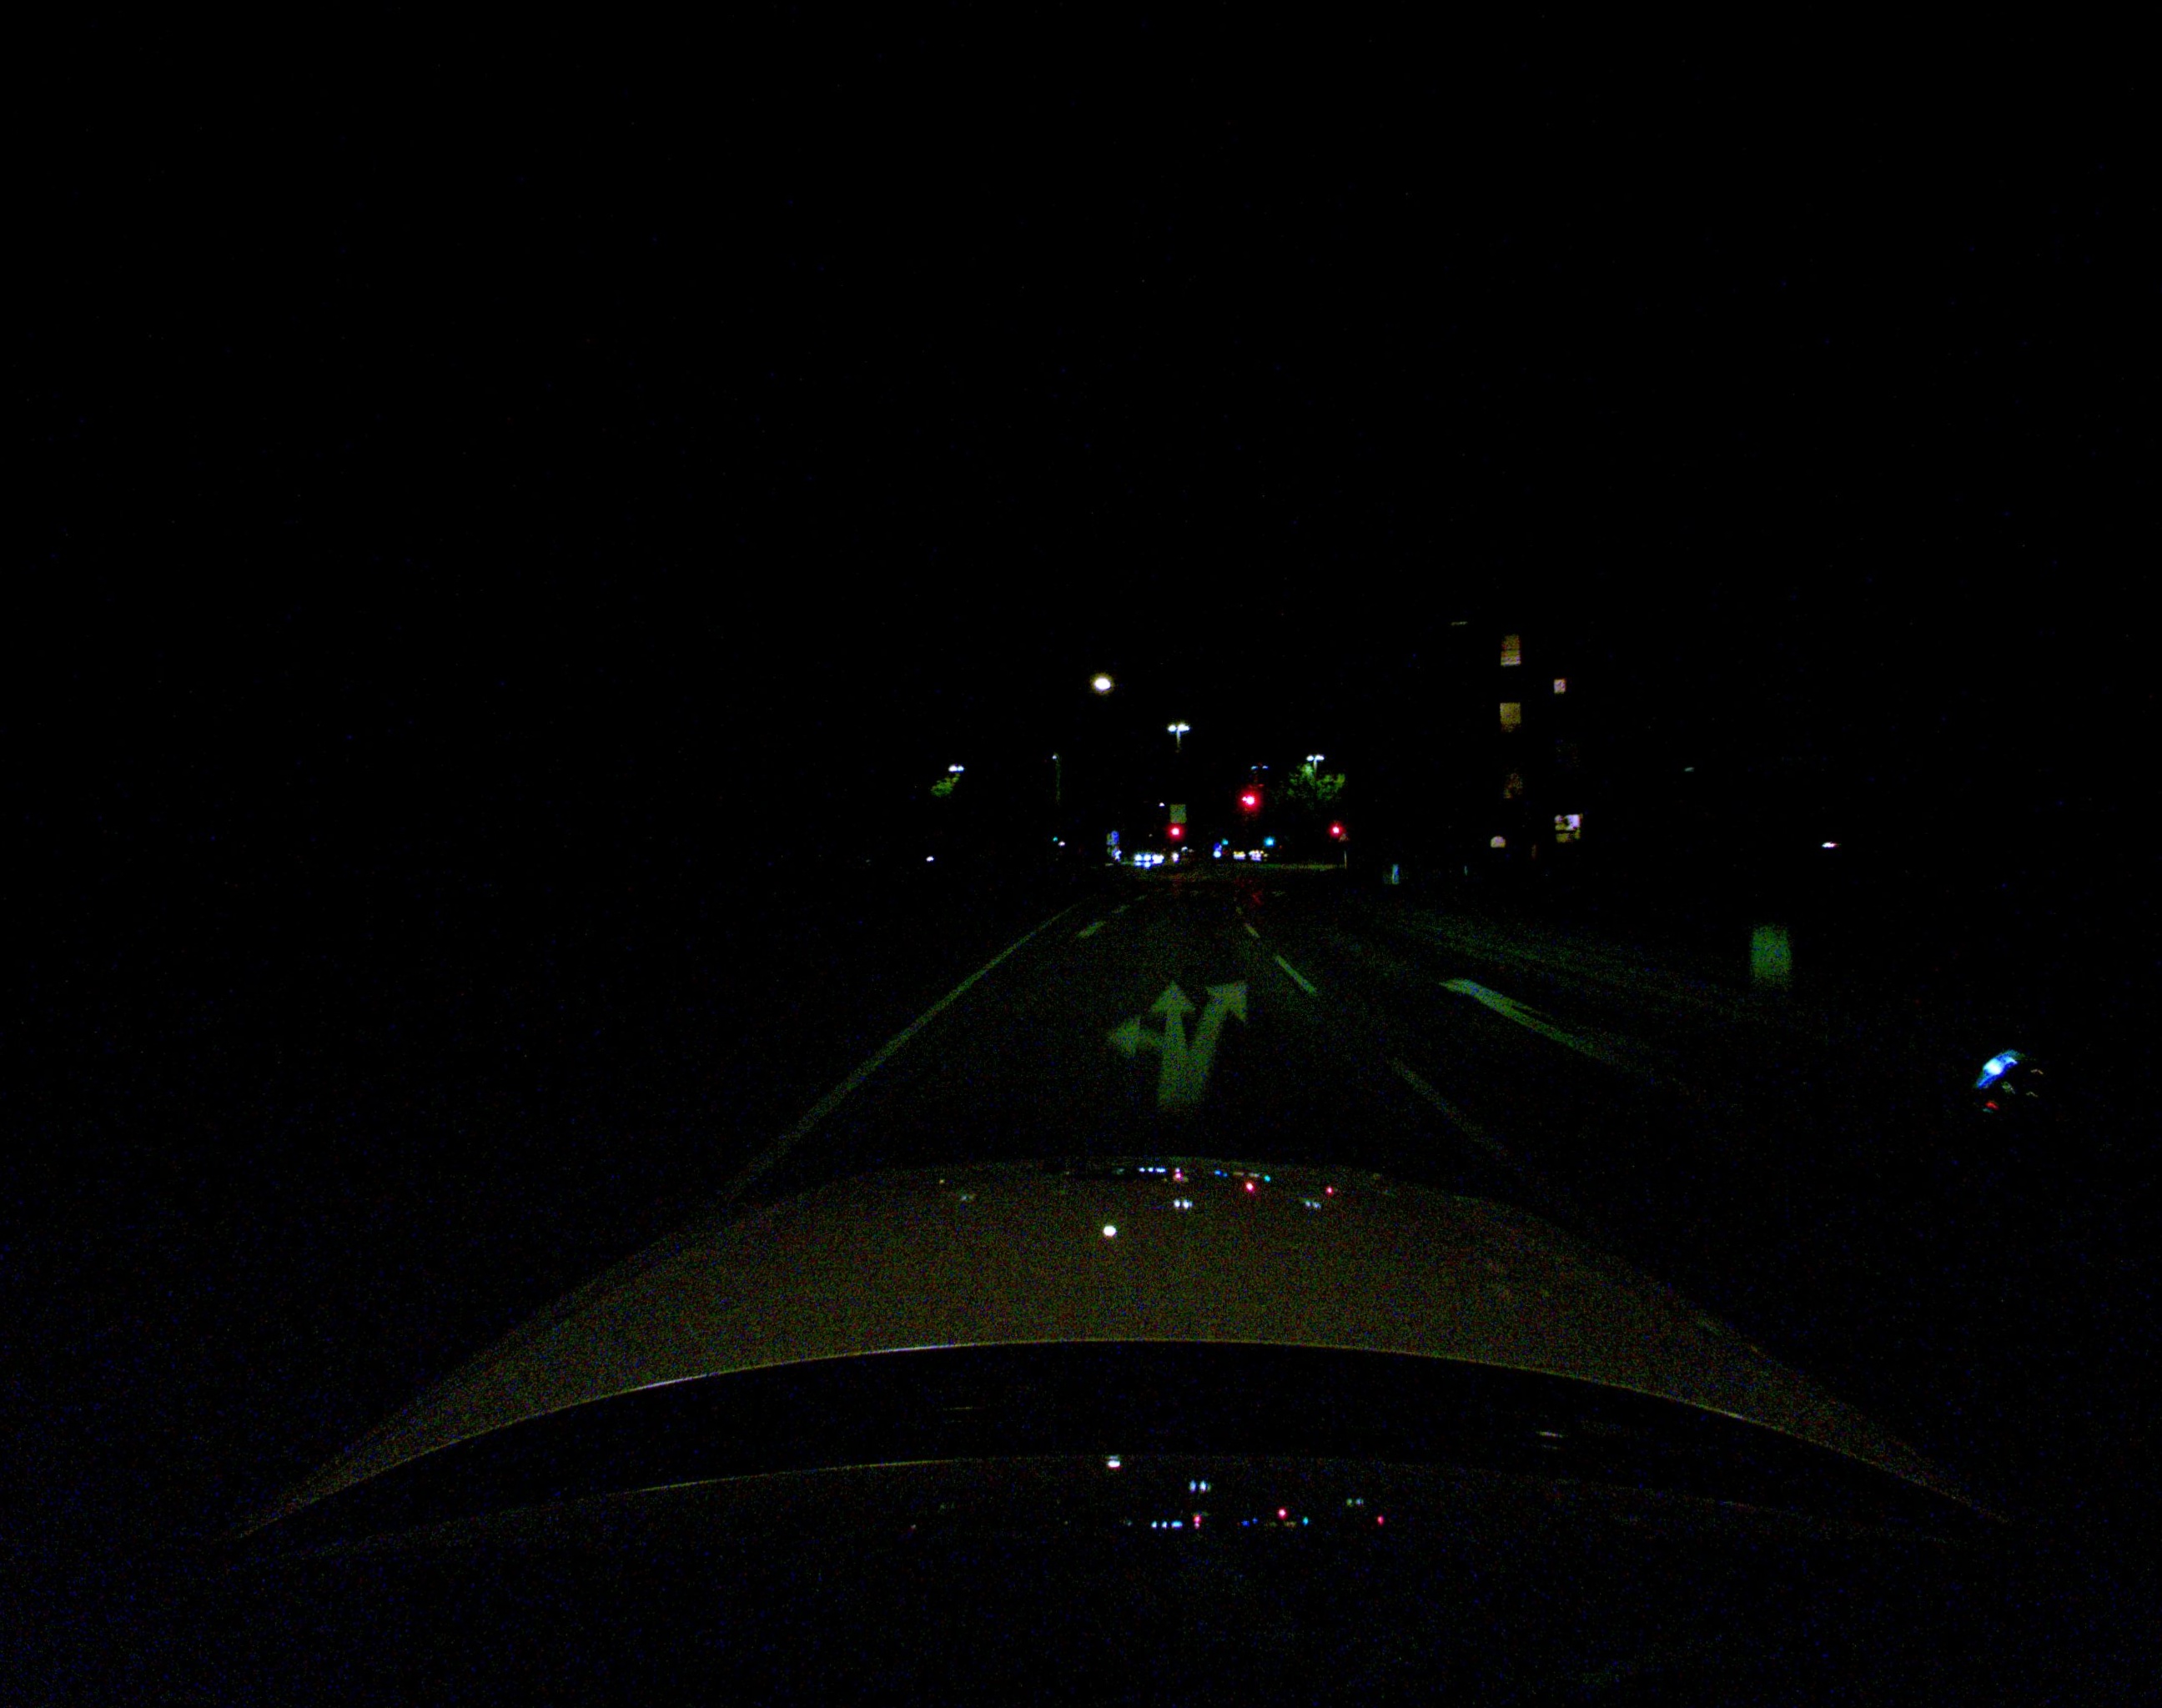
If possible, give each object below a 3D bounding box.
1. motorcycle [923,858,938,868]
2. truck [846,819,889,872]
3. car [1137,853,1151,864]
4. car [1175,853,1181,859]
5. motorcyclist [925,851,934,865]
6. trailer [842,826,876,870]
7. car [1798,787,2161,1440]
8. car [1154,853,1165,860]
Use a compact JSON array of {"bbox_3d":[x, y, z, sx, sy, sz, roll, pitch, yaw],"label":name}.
[{"bbox_3d":[-14.263,0.836,77.079,0.582,0.896,2.133,-3,1,-33],"label":"motorcycle"},{"bbox_3d":[-16.724,-0.596,63.468,2.945,3.796,9.504,0,0,-16],"label":"truck"},{"bbox_3d":[9.256,0.642,119.426,1.606,1.515,4.011,0,0,10],"label":"car"},{"bbox_3d":[27.648,0.475,232.191,1.747,1.728,3.557,0,0,10],"label":"car"},{"bbox_3d":[-14.287,0.373,76.789,0.651,1.261,0.573,0,-1,-33],"label":"motorcyclist"},{"bbox_3d":[-20.041,-0.476,73.470,2.621,3.791,6.473,0,0,-18],"label":"trailer"},{"bbox_3d":[3.468,0.637,0.936,1.664,1.610,4.231,0,0,2],"label":"car"},{"bbox_3d":[13.744,0.446,142.439,1.747,1.322,3.557,0,0,10],"label":"car"}]
